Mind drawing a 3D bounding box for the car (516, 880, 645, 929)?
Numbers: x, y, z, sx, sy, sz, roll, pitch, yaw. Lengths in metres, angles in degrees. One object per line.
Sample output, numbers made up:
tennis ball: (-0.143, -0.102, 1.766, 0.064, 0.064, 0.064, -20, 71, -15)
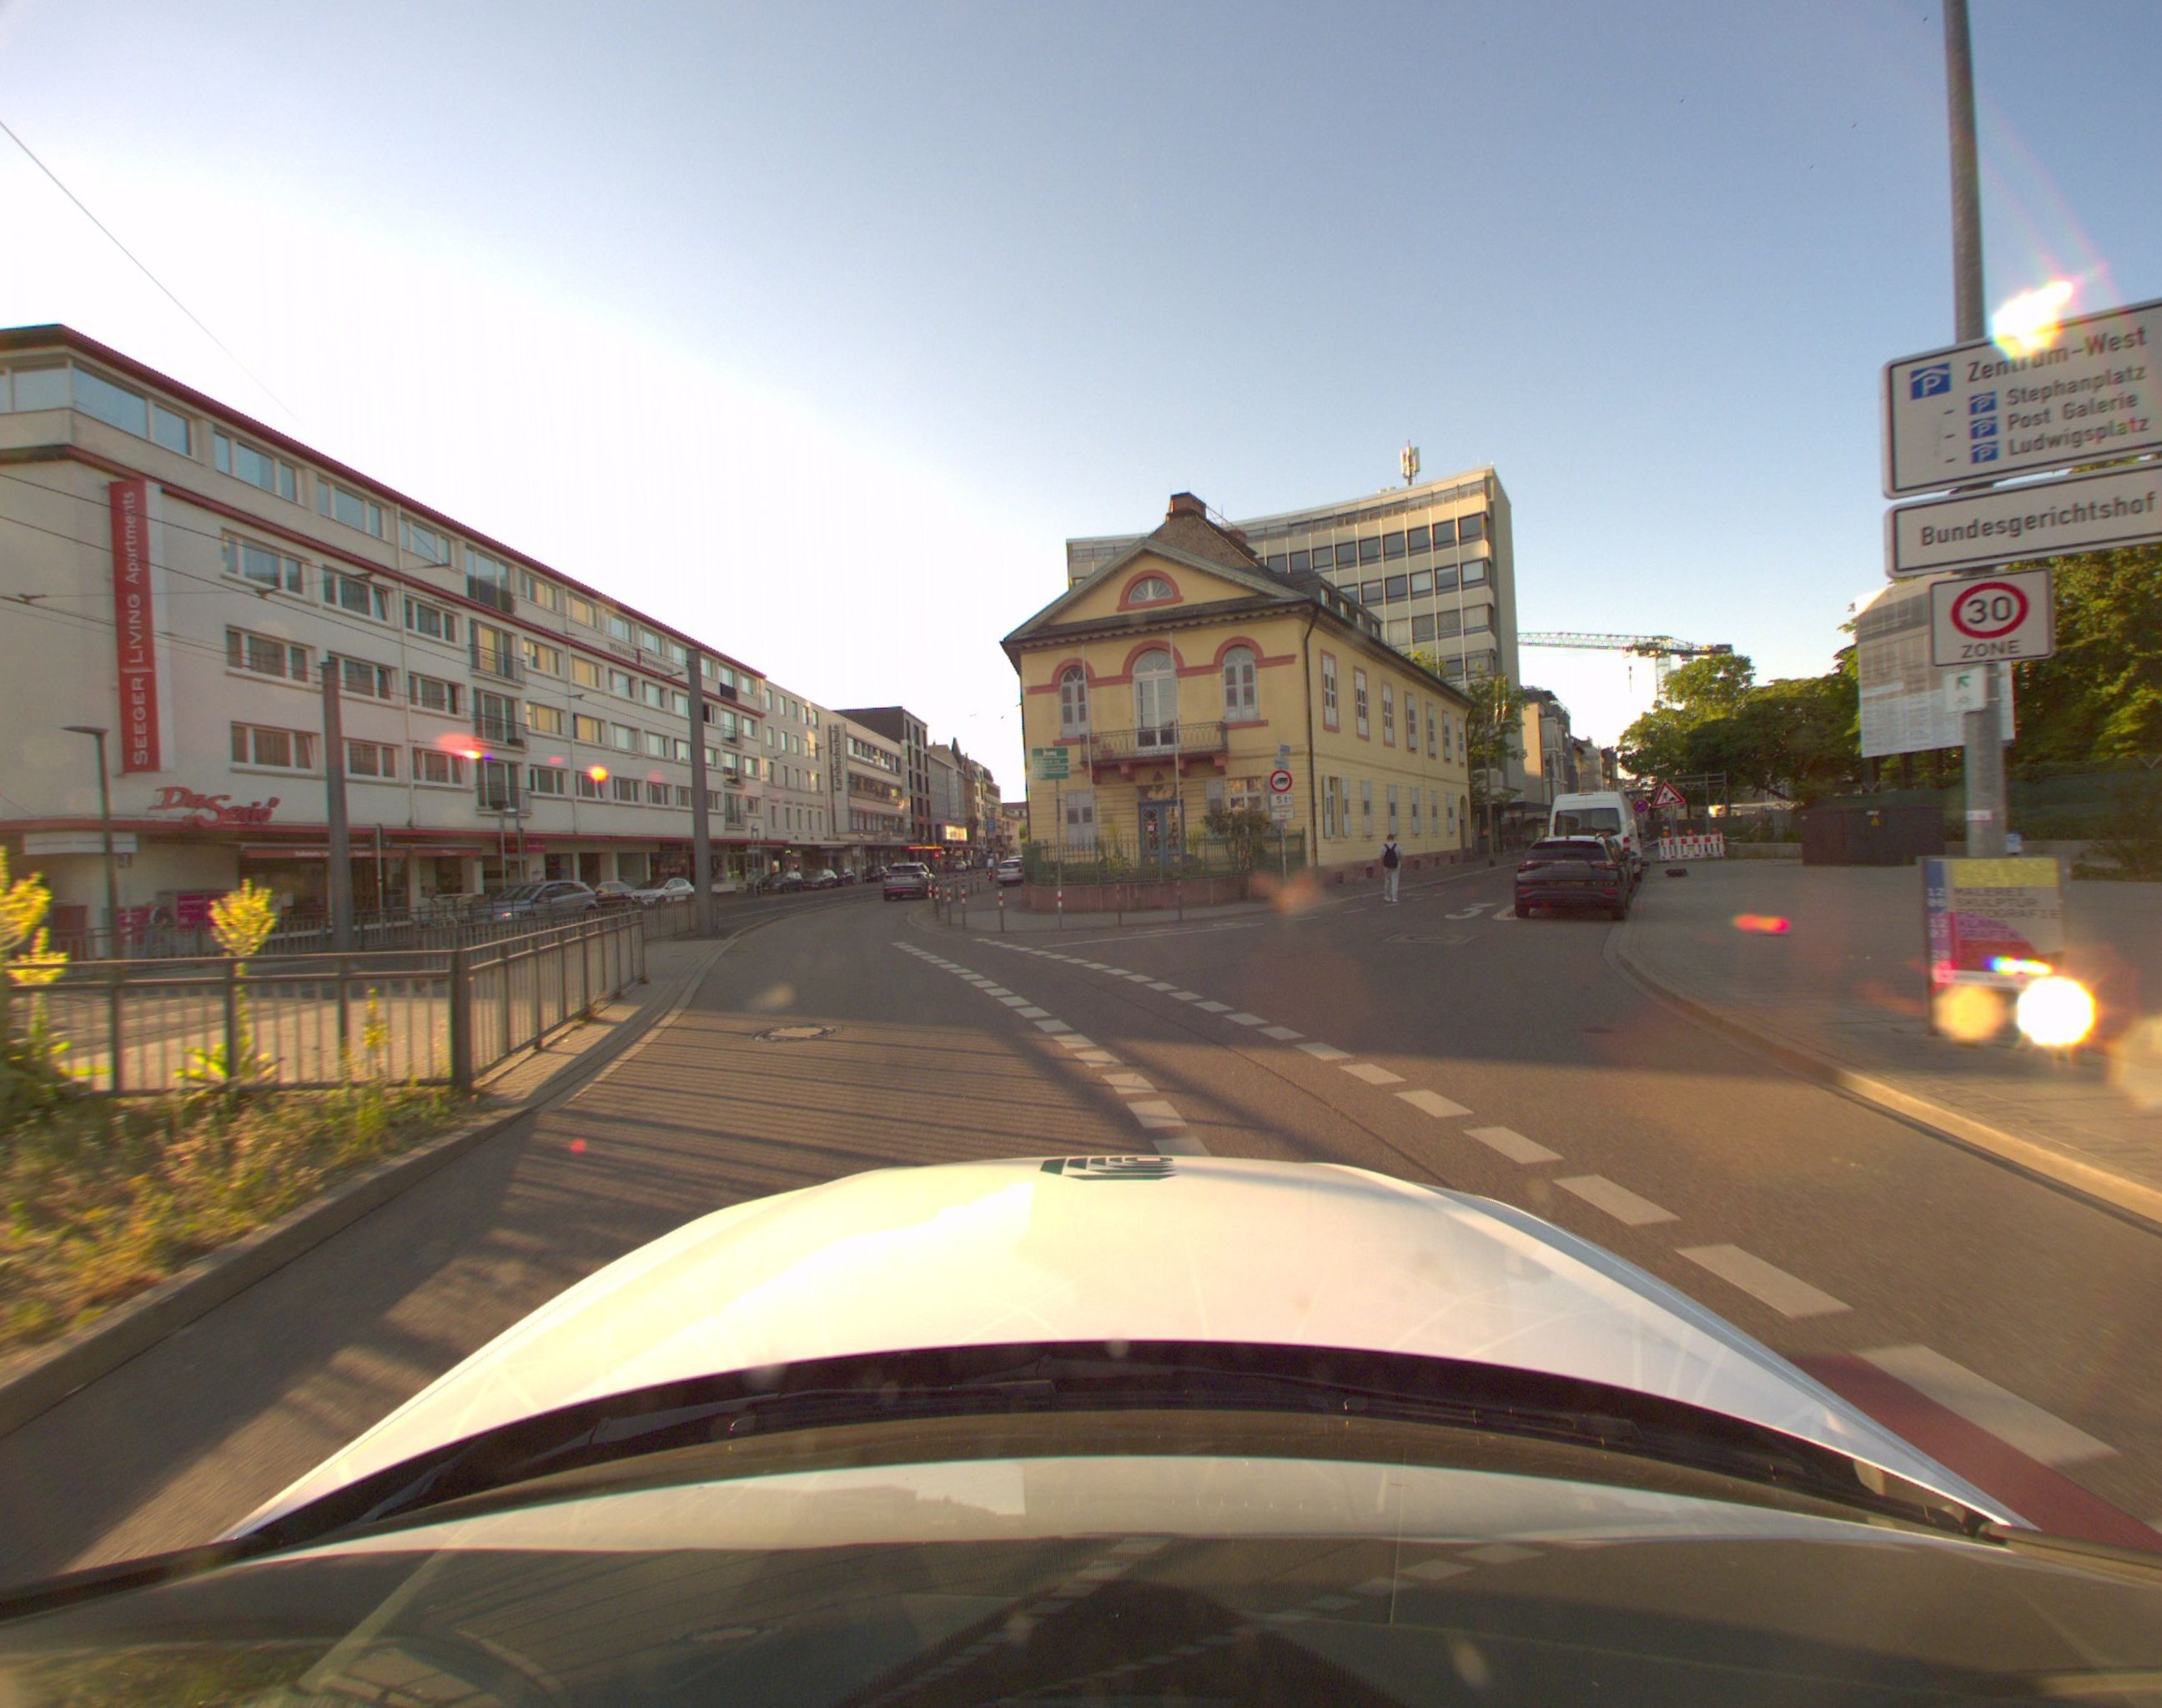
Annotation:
car: (-20.753, 2.048, 34.084, 1.984, 1.665, 4.847, -3, 0, 5)

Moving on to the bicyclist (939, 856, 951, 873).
bicyclist: (-16.343, 1.289, 97.566, 1.163, 2.013, 1.045, -3, 0, -1)

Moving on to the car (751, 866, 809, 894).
car: (-19.849, 1.677, 53.858, 1.984, 1.665, 4.006, -3, 0, 5)

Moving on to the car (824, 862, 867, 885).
car: (-19.146, 1.547, 66.357, 1.984, 1.665, 4.006, -3, 0, 5)

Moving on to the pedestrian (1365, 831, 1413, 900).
pedestrian: (7.905, 0.283, 20.890, 0.868, 1.724, 0.835, -2, 0, 40)

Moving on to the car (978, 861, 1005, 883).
car: (-7.816, 1.537, 71.574, 1.801, 1.809, 4.001, -3, 0, 1)

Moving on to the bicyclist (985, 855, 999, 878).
bicyclist: (-6.310, 0.851, 57.565, 0.826, 1.568, 0.787, -3, 0, 0)

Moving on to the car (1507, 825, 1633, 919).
car: (9.455, 0.261, 15.577, 1.761, 1.543, 4.318, -3, 0, 34)

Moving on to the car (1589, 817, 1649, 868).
car: (21.562, -0.492, 32.573, 1.696, 1.848, 4.048, -2, 0, 37)

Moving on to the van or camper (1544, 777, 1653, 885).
van or camper: (15.564, -0.666, 24.310, 2.057, 2.774, 6.491, -3, 0, 38)

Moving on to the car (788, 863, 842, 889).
car: (-19.515, 1.607, 59.934, 1.984, 1.665, 4.646, -3, 0, 5)

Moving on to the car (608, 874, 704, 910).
car: (-20.648, 1.813, 39.812, 1.984, 1.465, 4.409, -3, 0, 5)

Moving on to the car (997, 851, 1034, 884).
car: (-3.670, 0.731, 46.158, 1.726, 1.708, 3.439, -3, 0, 0)

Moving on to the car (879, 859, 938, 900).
car: (-7.713, 1.073, 36.816, 1.939, 1.661, 4.530, -2, 0, -4)

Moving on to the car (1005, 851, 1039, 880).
car: (-3.686, 0.702, 51.128, 1.726, 1.708, 3.806, -3, 0, 0)

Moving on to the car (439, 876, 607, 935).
car: (-18.037, 1.621, 26.638, 2.186, 1.559, 4.288, -3, 0, 7)

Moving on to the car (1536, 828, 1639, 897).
car: (12.186, 0.138, 19.456, 1.712, 1.429, 4.503, -2, 0, 36)

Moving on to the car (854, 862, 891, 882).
car: (-19.211, 1.602, 75.171, 1.984, 1.665, 4.006, -3, 0, 5)

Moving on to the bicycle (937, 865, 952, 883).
bicycle: (-16.295, 2.363, 97.526, 1.176, 2.013, 3.341, -3, 0, 0)

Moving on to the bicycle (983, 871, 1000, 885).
bicycle: (-6.301, 1.655, 57.409, 0.826, 0.870, 2.549, -3, 0, 1)
